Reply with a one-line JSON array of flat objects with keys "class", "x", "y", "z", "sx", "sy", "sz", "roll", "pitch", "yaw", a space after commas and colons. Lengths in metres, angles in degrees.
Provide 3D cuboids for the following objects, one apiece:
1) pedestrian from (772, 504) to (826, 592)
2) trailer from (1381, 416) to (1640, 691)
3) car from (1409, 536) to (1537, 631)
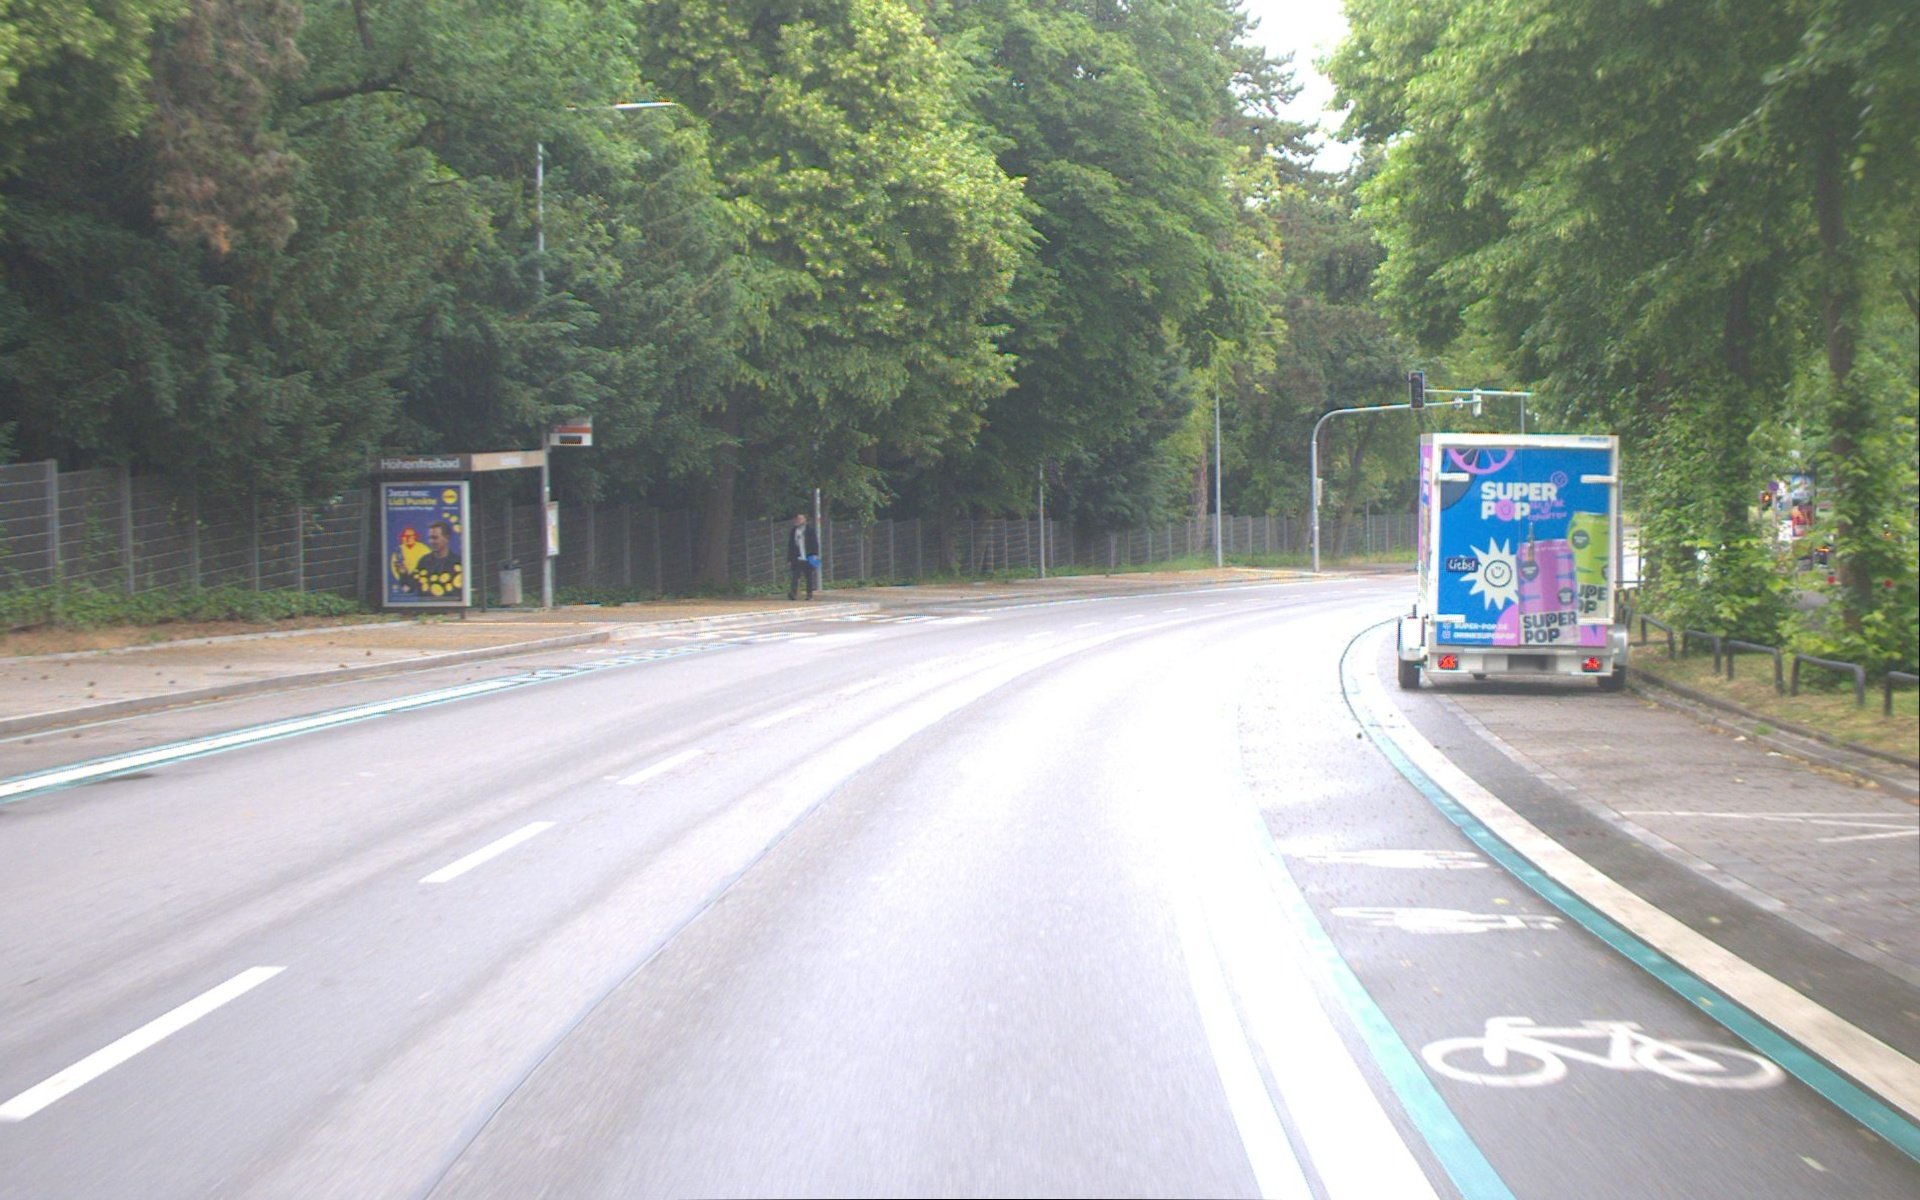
[{"class": "pedestrian", "x": -3.221, "y": -1.042, "z": 68.837, "sx": 0.887, "sy": 1.727, "sz": 1.146, "roll": 1, "pitch": 1, "yaw": 6}, {"class": "trailer", "x": 5.708, "y": -0.515, "z": 36.309, "sx": 2.316, "sy": 2.663, "sz": 5.375, "roll": 1, "pitch": 1, "yaw": 5}, {"class": "car", "x": 8.326, "y": -0.291, "z": 55.561, "sx": 1.860, "sy": 1.423, "sz": 4.648, "roll": 2, "pitch": 1, "yaw": 10}]
